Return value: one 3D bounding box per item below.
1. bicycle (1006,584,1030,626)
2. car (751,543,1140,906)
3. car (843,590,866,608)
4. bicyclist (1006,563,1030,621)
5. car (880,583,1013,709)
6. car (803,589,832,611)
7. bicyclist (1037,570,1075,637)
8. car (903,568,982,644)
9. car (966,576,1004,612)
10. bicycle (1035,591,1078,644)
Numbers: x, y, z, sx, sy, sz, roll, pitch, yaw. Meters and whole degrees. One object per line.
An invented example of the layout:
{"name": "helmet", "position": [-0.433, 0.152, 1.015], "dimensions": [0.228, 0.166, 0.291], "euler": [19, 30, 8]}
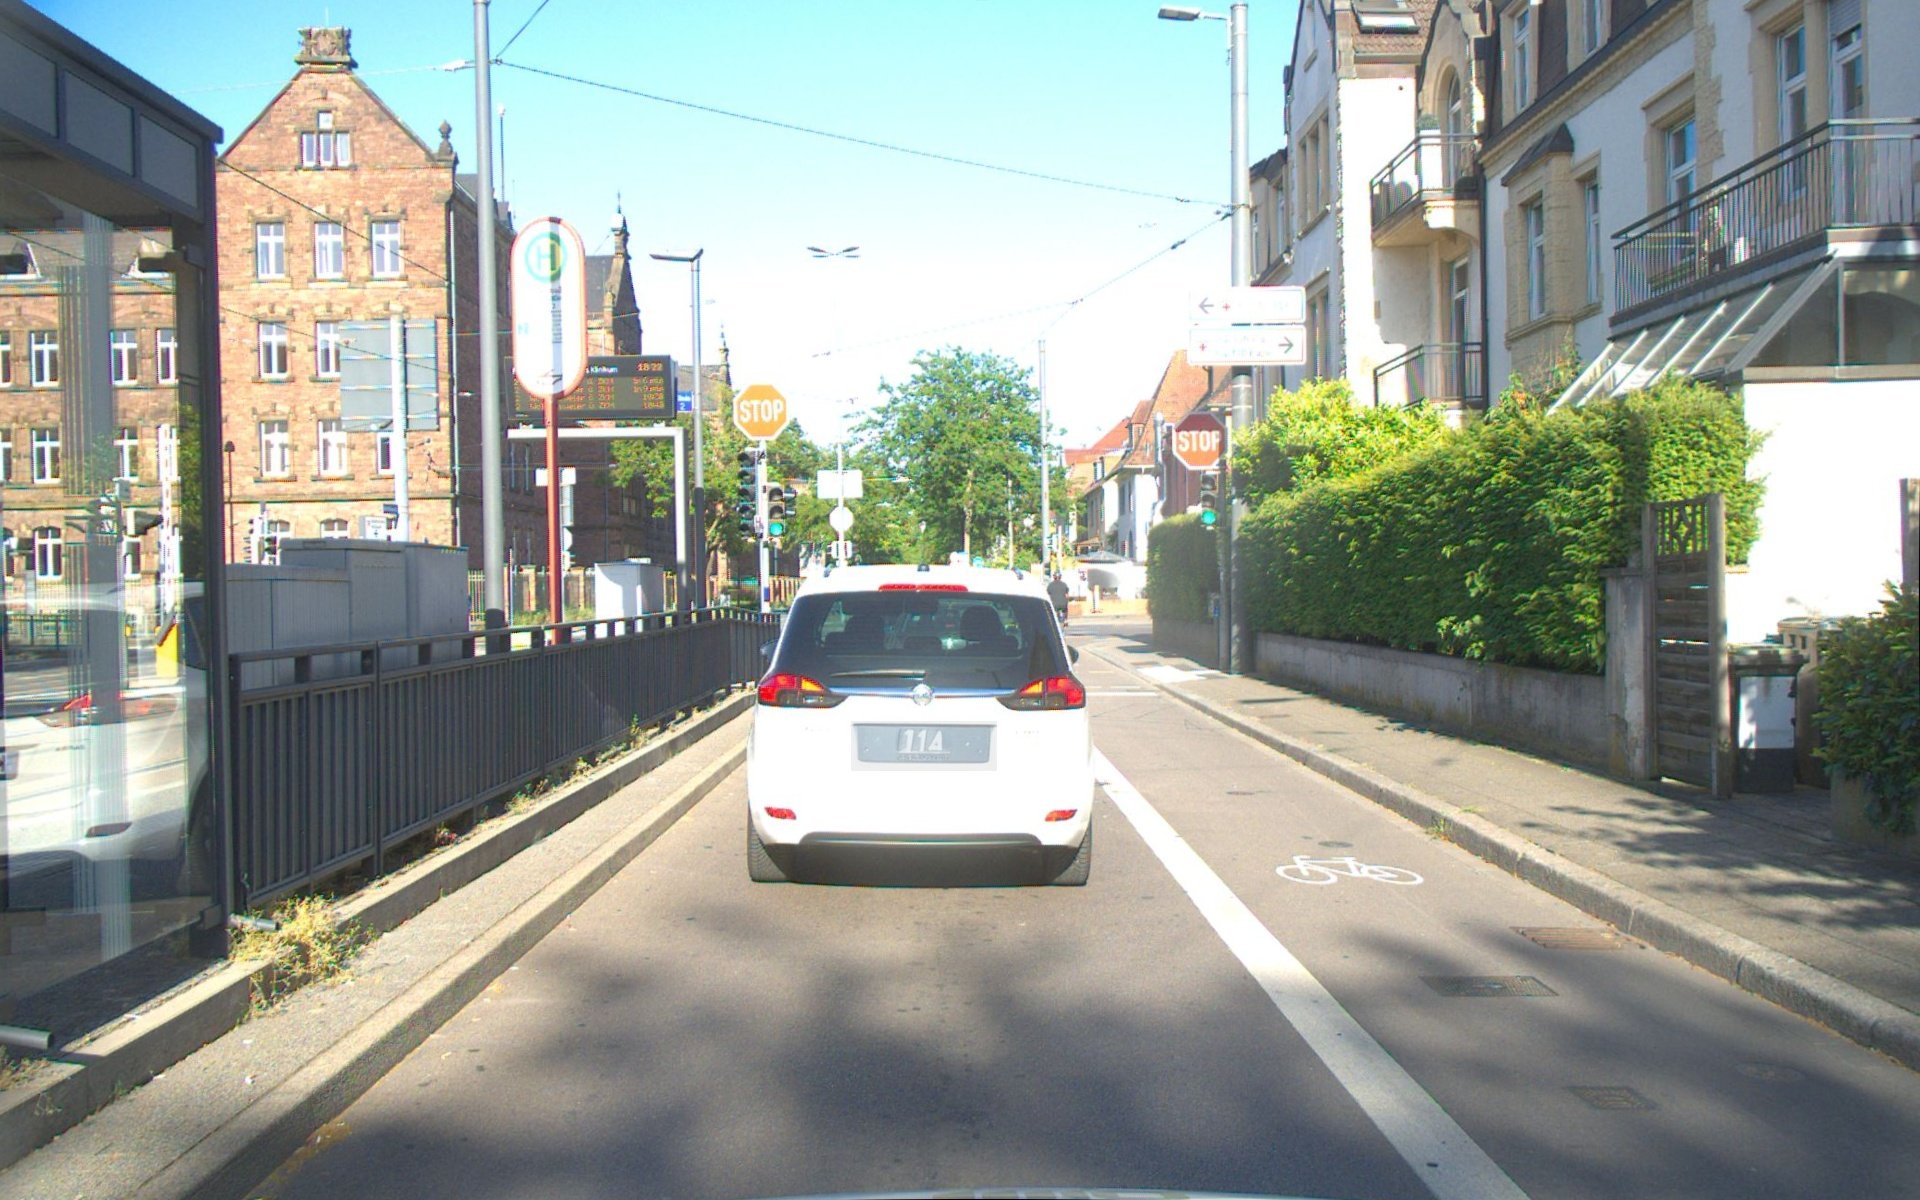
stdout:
{"name": "bicycle", "position": [1.687, 0.140, 48.131], "dimensions": [0.671, 1.177, 1.620], "euler": [-1, 0, 2]}
{"name": "car", "position": [-0.059, 0.571, 9.672], "dimensions": [1.797, 1.670, 3.918], "euler": [-1, 0, 0]}
{"name": "car", "position": [-8.764, -0.118, 137.704], "dimensions": [1.548, 1.466, 3.585], "euler": [-1, 0, 2]}
{"name": "bicyclist", "position": [1.681, -0.223, 48.159], "dimensions": [0.671, 1.663, 1.016], "euler": [-1, 0, 2]}
{"name": "car", "position": [-0.113, 0.536, 21.797], "dimensions": [1.553, 1.445, 3.901], "euler": [-2, 1, 1]}
{"name": "car", "position": [-9.930, -0.019, 115.510], "dimensions": [1.548, 1.466, 3.585], "euler": [-1, 0, 2]}
{"name": "bicyclist", "position": [2.201, 0.080, 38.074], "dimensions": [0.804, 1.528, 0.934], "euler": [-1, 0, -1]}
{"name": "car", "position": [-0.397, 0.134, 38.596], "dimensions": [1.739, 1.660, 3.880], "euler": [-1, 0, 0]}
{"name": "car", "position": [1.215, -0.283, 79.391], "dimensions": [1.739, 1.660, 3.882], "euler": [-1, 0, 2]}
{"name": "bicycle", "position": [2.211, 0.394, 38.133], "dimensions": [0.812, 1.175, 2.094], "euler": [-1, 0, -1]}
